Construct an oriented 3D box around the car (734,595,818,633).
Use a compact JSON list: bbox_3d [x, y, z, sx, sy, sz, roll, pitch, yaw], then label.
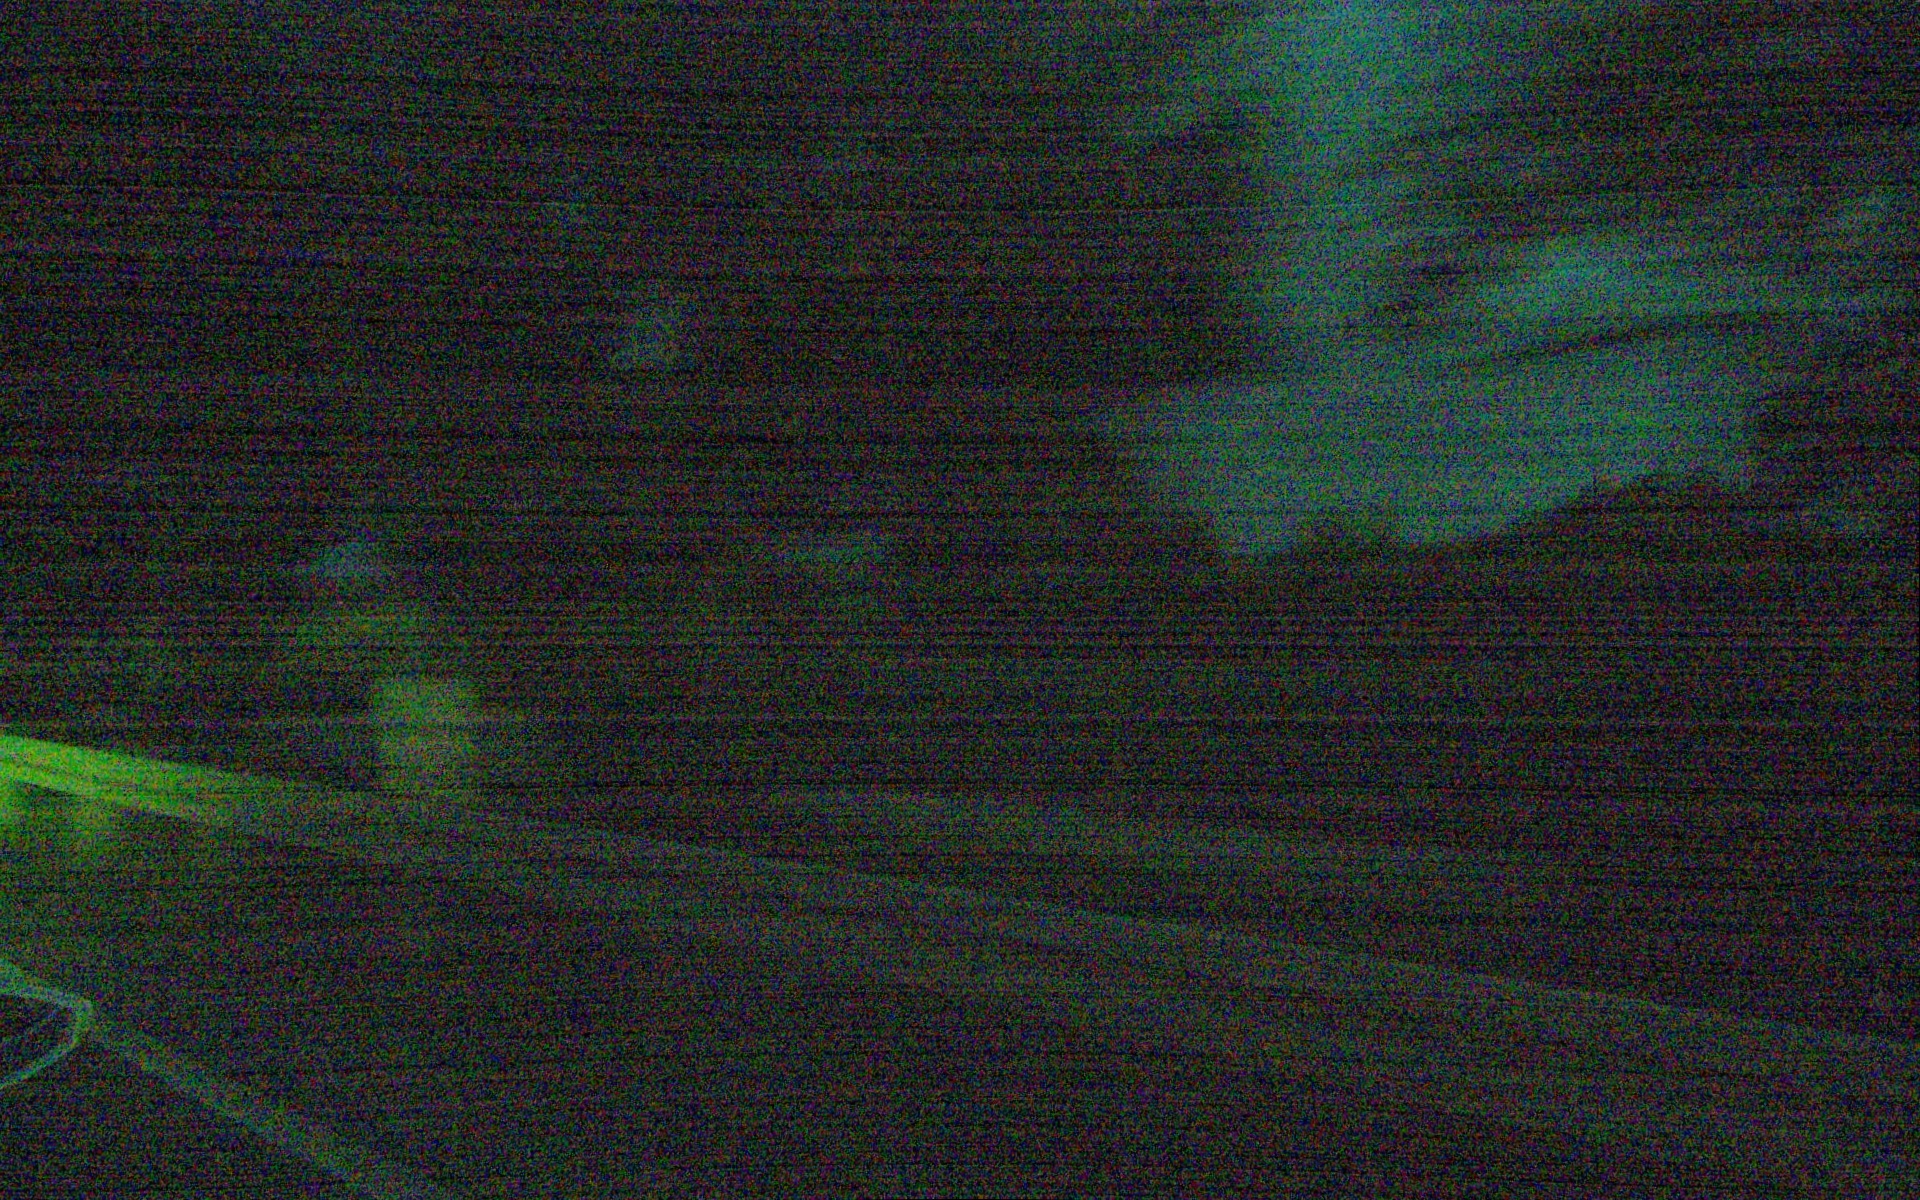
[{"bbox_3d":[-10.871,0.830,59.058,4.501,2.180,1.995,-1,0,21],"label":"car"}]
